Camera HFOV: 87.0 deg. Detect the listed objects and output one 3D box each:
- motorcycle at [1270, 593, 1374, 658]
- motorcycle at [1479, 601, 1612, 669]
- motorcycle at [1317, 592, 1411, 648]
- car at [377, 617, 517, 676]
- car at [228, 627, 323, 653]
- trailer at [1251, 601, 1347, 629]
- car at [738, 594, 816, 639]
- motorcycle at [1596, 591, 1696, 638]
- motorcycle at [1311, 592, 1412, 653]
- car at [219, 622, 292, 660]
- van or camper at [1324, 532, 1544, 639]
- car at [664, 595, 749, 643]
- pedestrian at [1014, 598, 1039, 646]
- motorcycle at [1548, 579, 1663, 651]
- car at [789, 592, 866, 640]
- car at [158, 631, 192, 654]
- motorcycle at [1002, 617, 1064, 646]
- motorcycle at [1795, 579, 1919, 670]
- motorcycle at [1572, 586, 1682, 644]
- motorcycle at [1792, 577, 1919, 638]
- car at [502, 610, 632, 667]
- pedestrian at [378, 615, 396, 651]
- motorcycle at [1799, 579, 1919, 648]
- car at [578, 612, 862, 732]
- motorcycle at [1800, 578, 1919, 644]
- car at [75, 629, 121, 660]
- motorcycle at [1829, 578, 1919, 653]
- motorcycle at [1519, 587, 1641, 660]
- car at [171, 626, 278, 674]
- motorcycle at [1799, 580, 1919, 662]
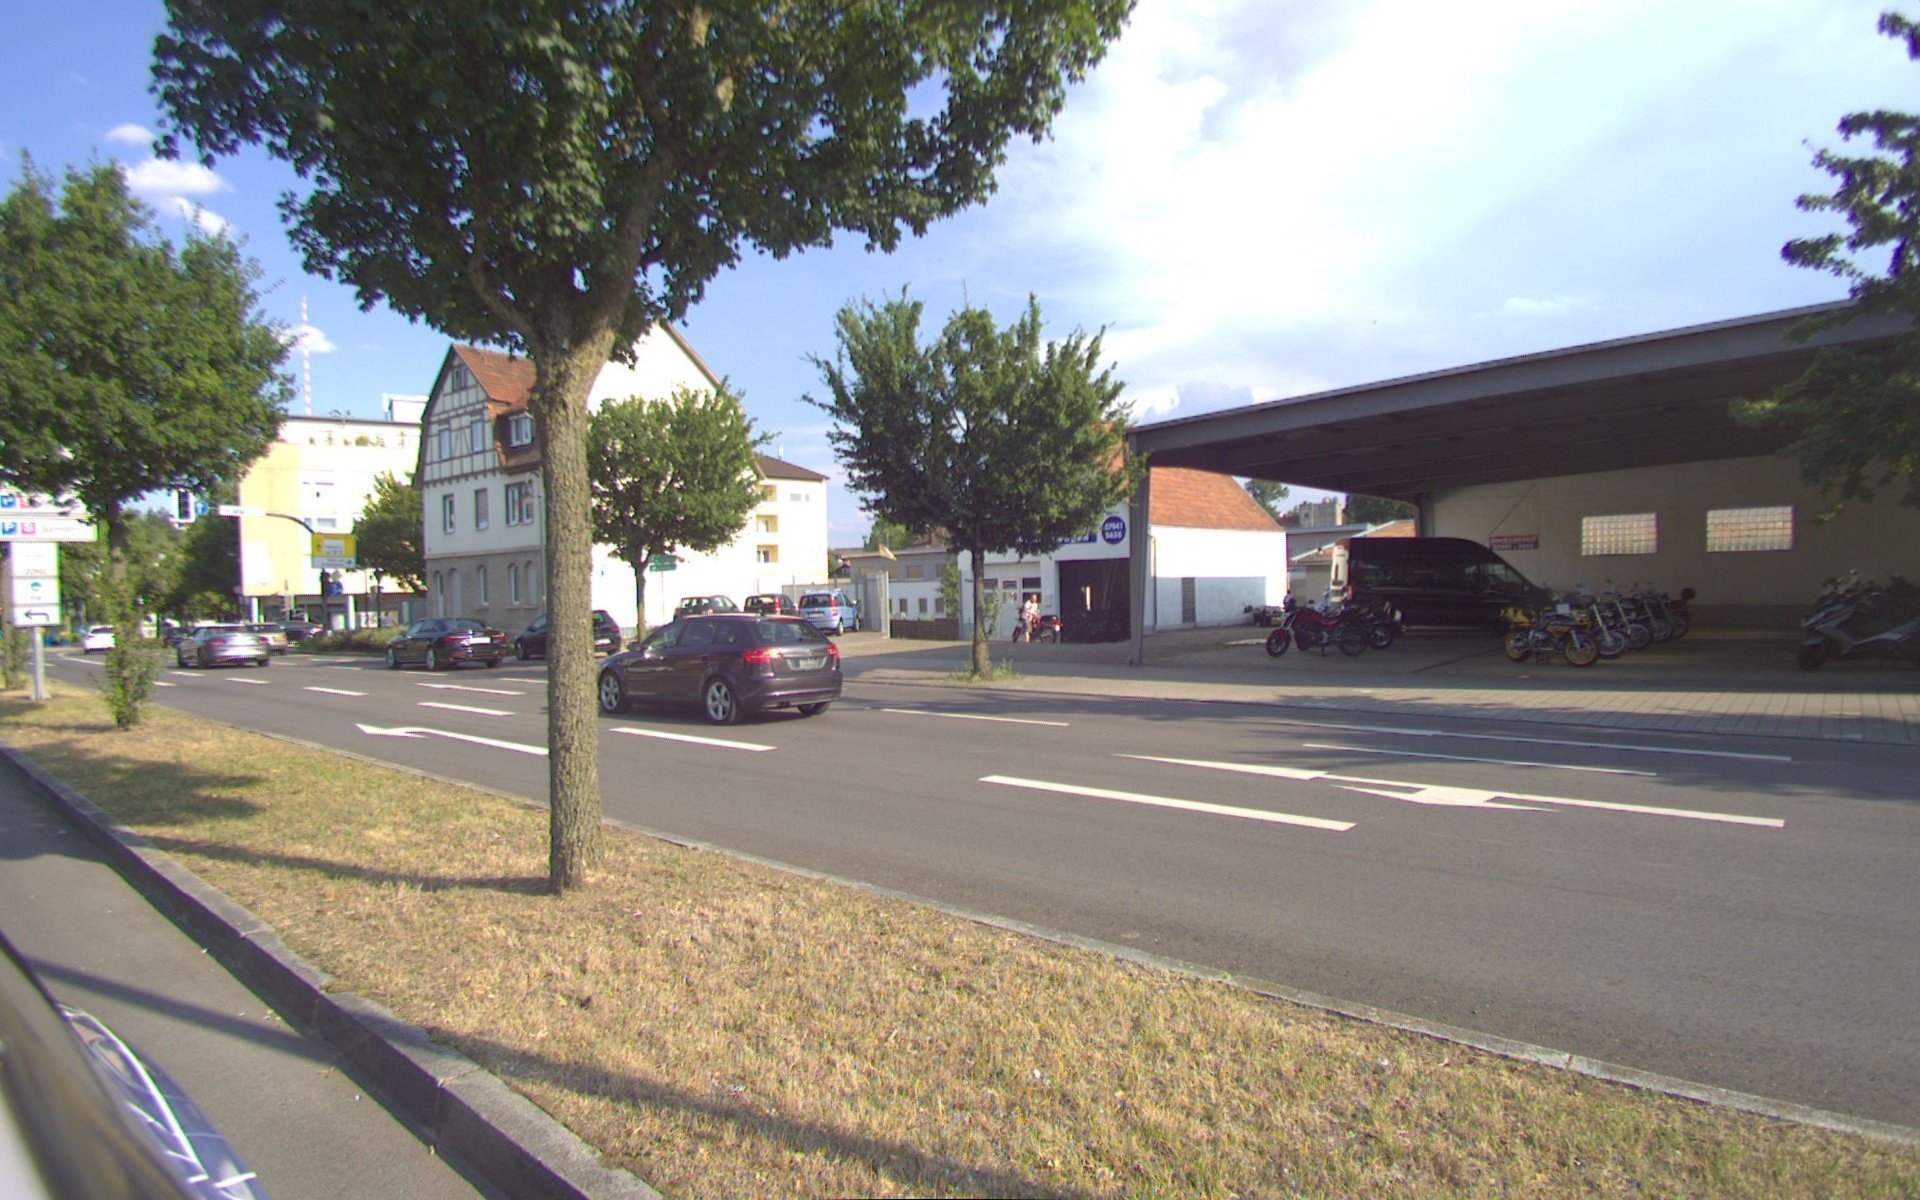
[{"bbox_3d":[7.546,0.539,21.192,1.991,1.321,0.665,-1,0,18],"label":"motorcycle"},{"bbox_3d":[10.435,0.604,18.135,0.620,1.132,2.161,-1,0,-19],"label":"motorcycle"},{"bbox_3d":[9.782,0.486,24.556,1.982,1.321,0.649,-1,0,5],"label":"motorcycle"},{"bbox_3d":[-14.127,1.216,27.743,4.642,1.432,1.824,-1,0,41],"label":"car"},{"bbox_3d":[-41.191,2.407,60.961,4.594,1.364,1.770,-1,0,-41],"label":"car"},{"bbox_3d":[12.505,0.529,37.259,2.449,0.831,3.152,-1,2,38],"label":"trailer"},{"bbox_3d":[-6.689,0.585,37.420,1.746,1.564,3.992,-1,0,7],"label":"car"},{"bbox_3d":[17.197,0.355,25.441,0.553,1.131,2.161,-1,0,-19],"label":"motorcycle"},{"bbox_3d":[9.015,0.495,22.776,1.982,1.321,0.649,-1,0,5],"label":"motorcycle"},{"bbox_3d":[-29.790,1.681,42.724,4.713,1.473,1.667,-1,0,44],"label":"car"},{"bbox_3d":[12.781,-0.356,27.605,4.979,2.700,1.995,-1,0,8],"label":"van or camper"},{"bbox_3d":[-9.388,0.668,37.784,1.746,1.563,3.992,-2,1,7],"label":"car"},{"bbox_3d":[2.178,0.717,32.992,0.648,1.535,0.670,-1,0,19],"label":"pedestrian"},{"bbox_3d":[13.788,0.305,21.700,0.584,1.459,2.161,-1,0,-19],"label":"motorcycle"},{"bbox_3d":[-4.613,0.532,35.738,1.746,1.564,3.992,-1,0,7],"label":"car"},{"bbox_3d":[-54.498,2.927,70.342,1.783,1.508,4.255,-1,0,-37],"label":"car"},{"bbox_3d":[2.390,1.030,33.355,2.212,0.927,0.500,-1,0,45],"label":"motorcycle"},{"bbox_3d":[13.879,0.361,15.135,2.093,1.317,0.561,-1,0,12],"label":"motorcycle"},{"bbox_3d":[15.429,0.342,23.486,0.636,1.268,2.161,-1,0,-19],"label":"motorcycle"},{"bbox_3d":[19.904,0.176,22.532,2.068,1.317,0.561,-1,0,12],"label":"motorcycle"},{"bbox_3d":[-11.748,1.105,30.161,4.193,1.454,1.816,-1,3,41],"label":"car"},{"bbox_3d":[-32.141,1.854,56.762,0.690,1.997,0.588,-1,0,2],"label":"pedestrian"},{"bbox_3d":[17.960,0.268,20.000,2.068,1.317,0.581,-1,0,12],"label":"motorcycle"},{"bbox_3d":[-3.414,0.893,13.979,4.186,1.397,1.628,-1,0,40],"label":"car"},{"bbox_3d":[18.950,0.232,21.177,2.068,1.317,0.561,-1,0,12],"label":"motorcycle"},{"bbox_3d":[-45.494,2.319,53.398,1.779,1.508,3.961,-1,0,-41],"label":"car"},{"bbox_3d":[17.091,0.273,18.262,2.068,1.317,0.621,-1,0,12],"label":"motorcycle"},{"bbox_3d":[12.107,0.437,19.848,0.553,1.340,2.161,-1,0,-19],"label":"motorcycle"},{"bbox_3d":[-23.202,1.520,31.869,4.476,1.359,1.762,-1,0,41],"label":"car"},{"bbox_3d":[15.259,0.341,16.742,2.068,1.317,0.561,-1,0,12],"label":"motorcycle"}]
